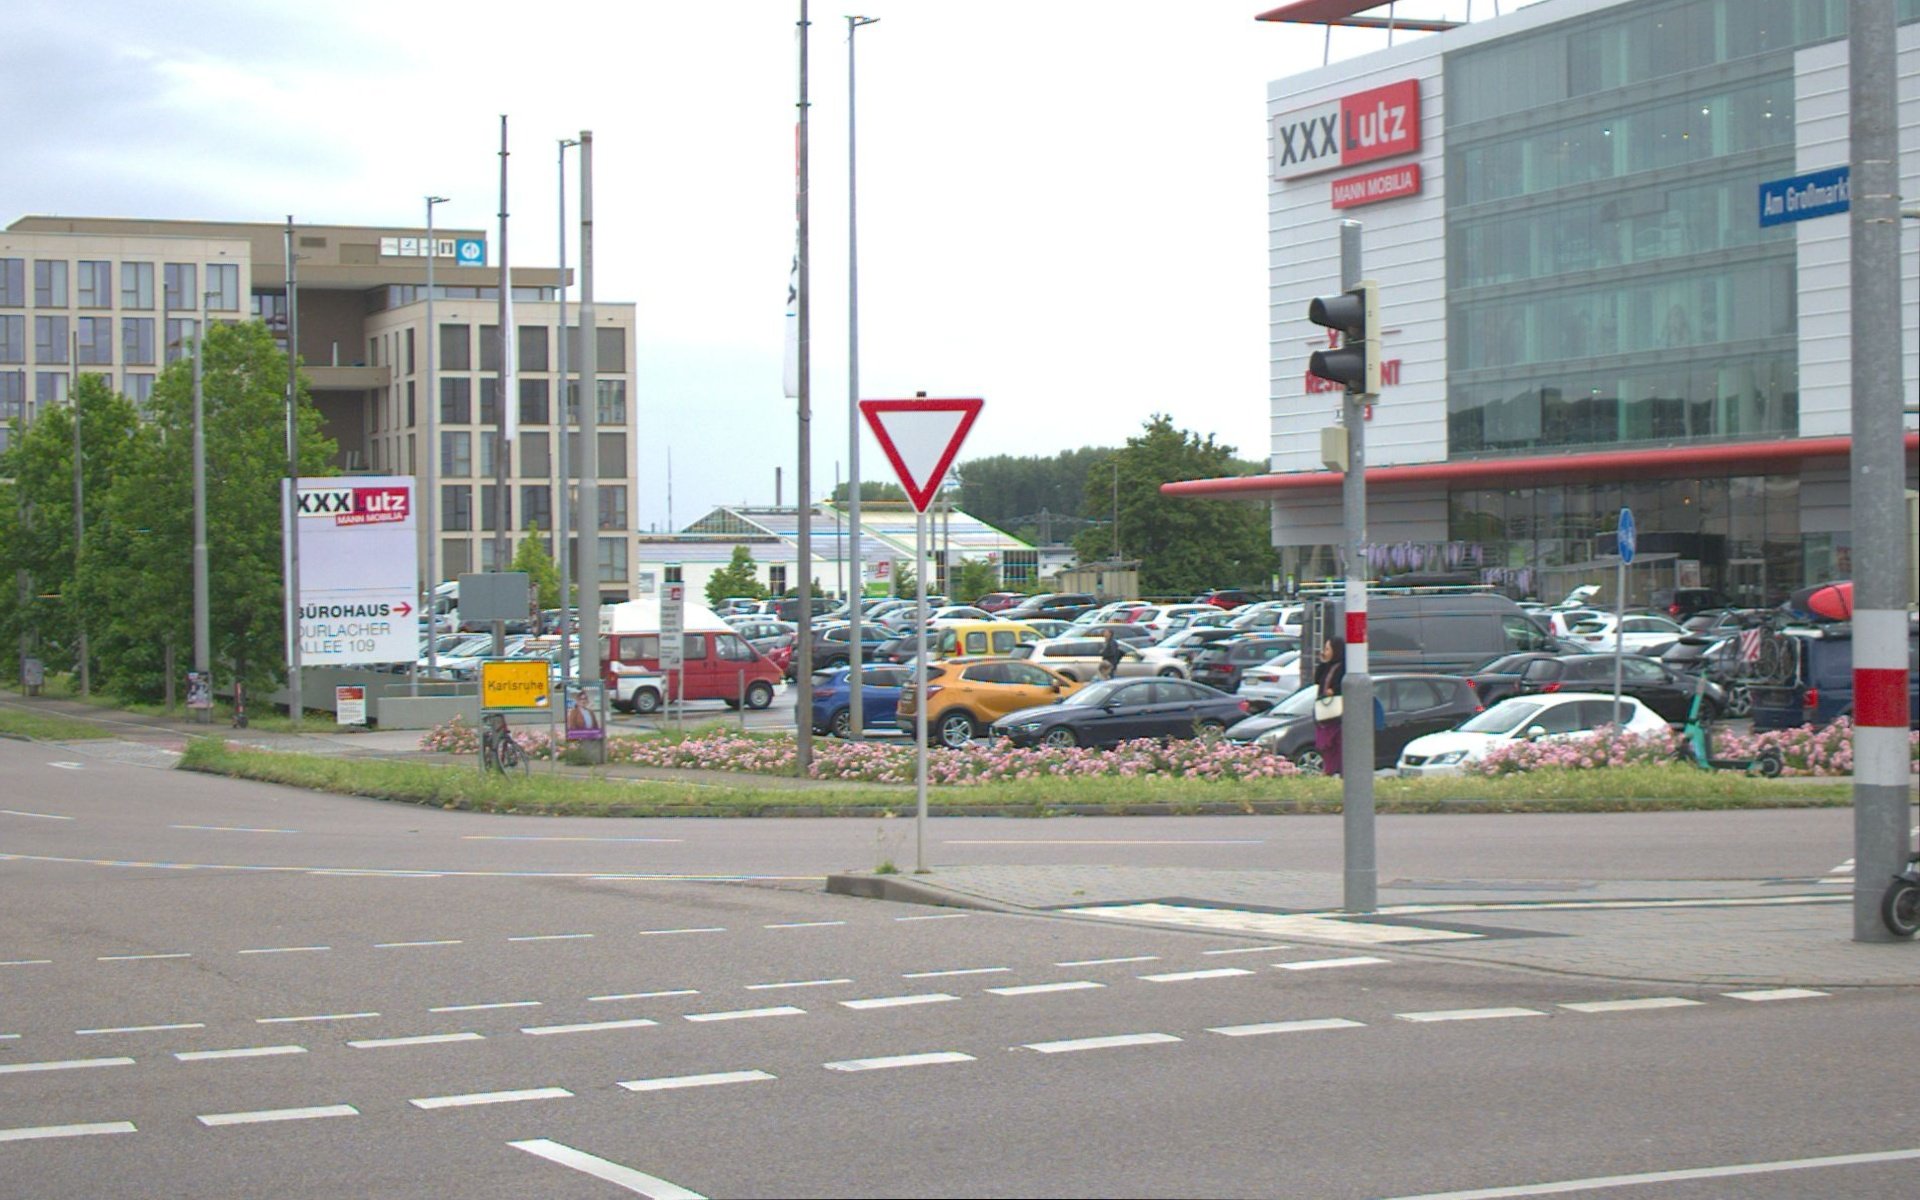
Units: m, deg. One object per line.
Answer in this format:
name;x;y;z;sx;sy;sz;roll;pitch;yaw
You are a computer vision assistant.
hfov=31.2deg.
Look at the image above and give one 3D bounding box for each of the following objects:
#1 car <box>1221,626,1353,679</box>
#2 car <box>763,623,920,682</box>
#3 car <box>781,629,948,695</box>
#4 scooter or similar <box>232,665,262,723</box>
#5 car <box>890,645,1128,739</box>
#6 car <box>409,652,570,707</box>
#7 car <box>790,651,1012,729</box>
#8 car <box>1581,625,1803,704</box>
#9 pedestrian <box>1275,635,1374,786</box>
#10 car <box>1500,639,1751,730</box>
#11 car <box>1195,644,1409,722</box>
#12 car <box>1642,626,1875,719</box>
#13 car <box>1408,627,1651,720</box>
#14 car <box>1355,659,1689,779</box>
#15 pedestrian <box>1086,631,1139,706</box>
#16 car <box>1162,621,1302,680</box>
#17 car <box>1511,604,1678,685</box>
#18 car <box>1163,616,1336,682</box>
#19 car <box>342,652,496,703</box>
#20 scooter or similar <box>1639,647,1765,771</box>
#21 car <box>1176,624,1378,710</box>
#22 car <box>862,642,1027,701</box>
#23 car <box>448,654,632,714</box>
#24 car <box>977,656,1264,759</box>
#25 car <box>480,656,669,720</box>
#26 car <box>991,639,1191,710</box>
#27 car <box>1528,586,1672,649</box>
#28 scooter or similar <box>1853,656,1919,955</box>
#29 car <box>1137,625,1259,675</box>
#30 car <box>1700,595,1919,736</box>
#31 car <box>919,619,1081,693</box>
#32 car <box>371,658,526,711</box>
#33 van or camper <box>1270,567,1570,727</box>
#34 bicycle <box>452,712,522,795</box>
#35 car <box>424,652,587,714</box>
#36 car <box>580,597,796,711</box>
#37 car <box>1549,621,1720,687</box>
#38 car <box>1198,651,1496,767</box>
car;9.935;1.583;104.472;3.567;1.582;1.740;0;-1;-18
car;-3.434;1.499;99.231;4.171;1.658;1.834;0;0;-20
car;-2.696;1.736;96.580;4.311;1.738;1.889;0;1;-20
scooter or similar;-18.014;2.369;86.826;0.650;1.416;1.819;-1;-1;-14
car;0.891;1.674;63.344;3.986;1.638;1.816;-1;-1;-18
car;-12.989;2.185;94.847;4.053;1.345;1.835;0;2;-23
car;-1.175;1.764;67.866;3.986;1.450;1.815;-1;-1;-21
car;14.741;1.286;69.245;3.986;1.550;1.855;0;-1;-21
pedestrian;3.932;1.186;37.091;0.716;1.592;0.782;-4;-3;35
car;12.024;1.515;62.200;3.986;1.550;1.948;-1;-1;-17
car;7.089;1.711;71.316;3.986;1.547;1.864;0;-1;-21
car;15.468;1.382;66.660;3.986;1.664;1.886;-1;0;-21
car;10.668;1.352;64.429;3.986;1.563;2.000;-2;0;-22
car;7.628;1.584;46.673;4.106;1.441;1.876;0;2;-24
pedestrian;3.573;1.594;80.520;0.939;1.713;0.886;0;2;-24
car;8.655;1.595;109.393;3.986;1.744;1.896;-2;0;-18
car;16.861;1.162;91.335;3.986;2.049;1.915;0;1;-25
car;7.345;1.234;87.303;3.986;1.629;1.787;0;-1;-20
car;-15.922;2.257;101.205;4.151;1.345;1.810;0;2;-23
scooter or similar;7.448;1.101;34.524;1.163;1.229;0.346;-2;-2;29
car;6.834;1.430;74.141;3.890;1.648;1.832;-2;1;-24
car;-0.418;1.898;92.075;3.986;1.529;1.889;0;-1;-23
car;-11.001;2.190;89.967;4.464;1.414;1.868;0;2;-21
car;2.718;1.808;58.320;4.524;1.578;1.770;0;2;-18
car;-9.676;2.193;86.219;4.373;1.456;1.961;0;2;-21
car;3.135;1.771;82.515;4.410;1.578;1.835;0;1;-21
car;19.417;0.526;104.262;3.986;1.816;1.803;-1;2;-25
scooter or similar;4.441;0.854;14.753;1.015;1.252;0.464;-2;-2;-9
car;7.716;1.605;111.603;3.567;1.582;1.740;0;-1;-18
car;14.788;1.017;55.688;5.034;2.158;2.123;-1;0;-18
car;1.013;1.406;87.564;3.735;1.762;1.734;0;2;-21
car;-14.553;2.399;97.848;4.053;1.345;1.764;0;2;-23
van or camper;8.908;0.892;66.687;5.378;2.974;1.991;-1;-1;-14
bicycle;-6.199;2.001;44.964;0.663;1.045;1.692;0;-1;-16
car;-12.255;2.229;92.696;4.053;1.535;1.764;0;2;-21
car;-6.486;1.246;81.896;4.721;2.570;2.171;0;2;-21
car;17.377;1.377;88.585;3.986;1.649;1.835;0;-1;-24
car;5.797;1.604;51.485;4.091;1.578;1.770;0;1;-22
